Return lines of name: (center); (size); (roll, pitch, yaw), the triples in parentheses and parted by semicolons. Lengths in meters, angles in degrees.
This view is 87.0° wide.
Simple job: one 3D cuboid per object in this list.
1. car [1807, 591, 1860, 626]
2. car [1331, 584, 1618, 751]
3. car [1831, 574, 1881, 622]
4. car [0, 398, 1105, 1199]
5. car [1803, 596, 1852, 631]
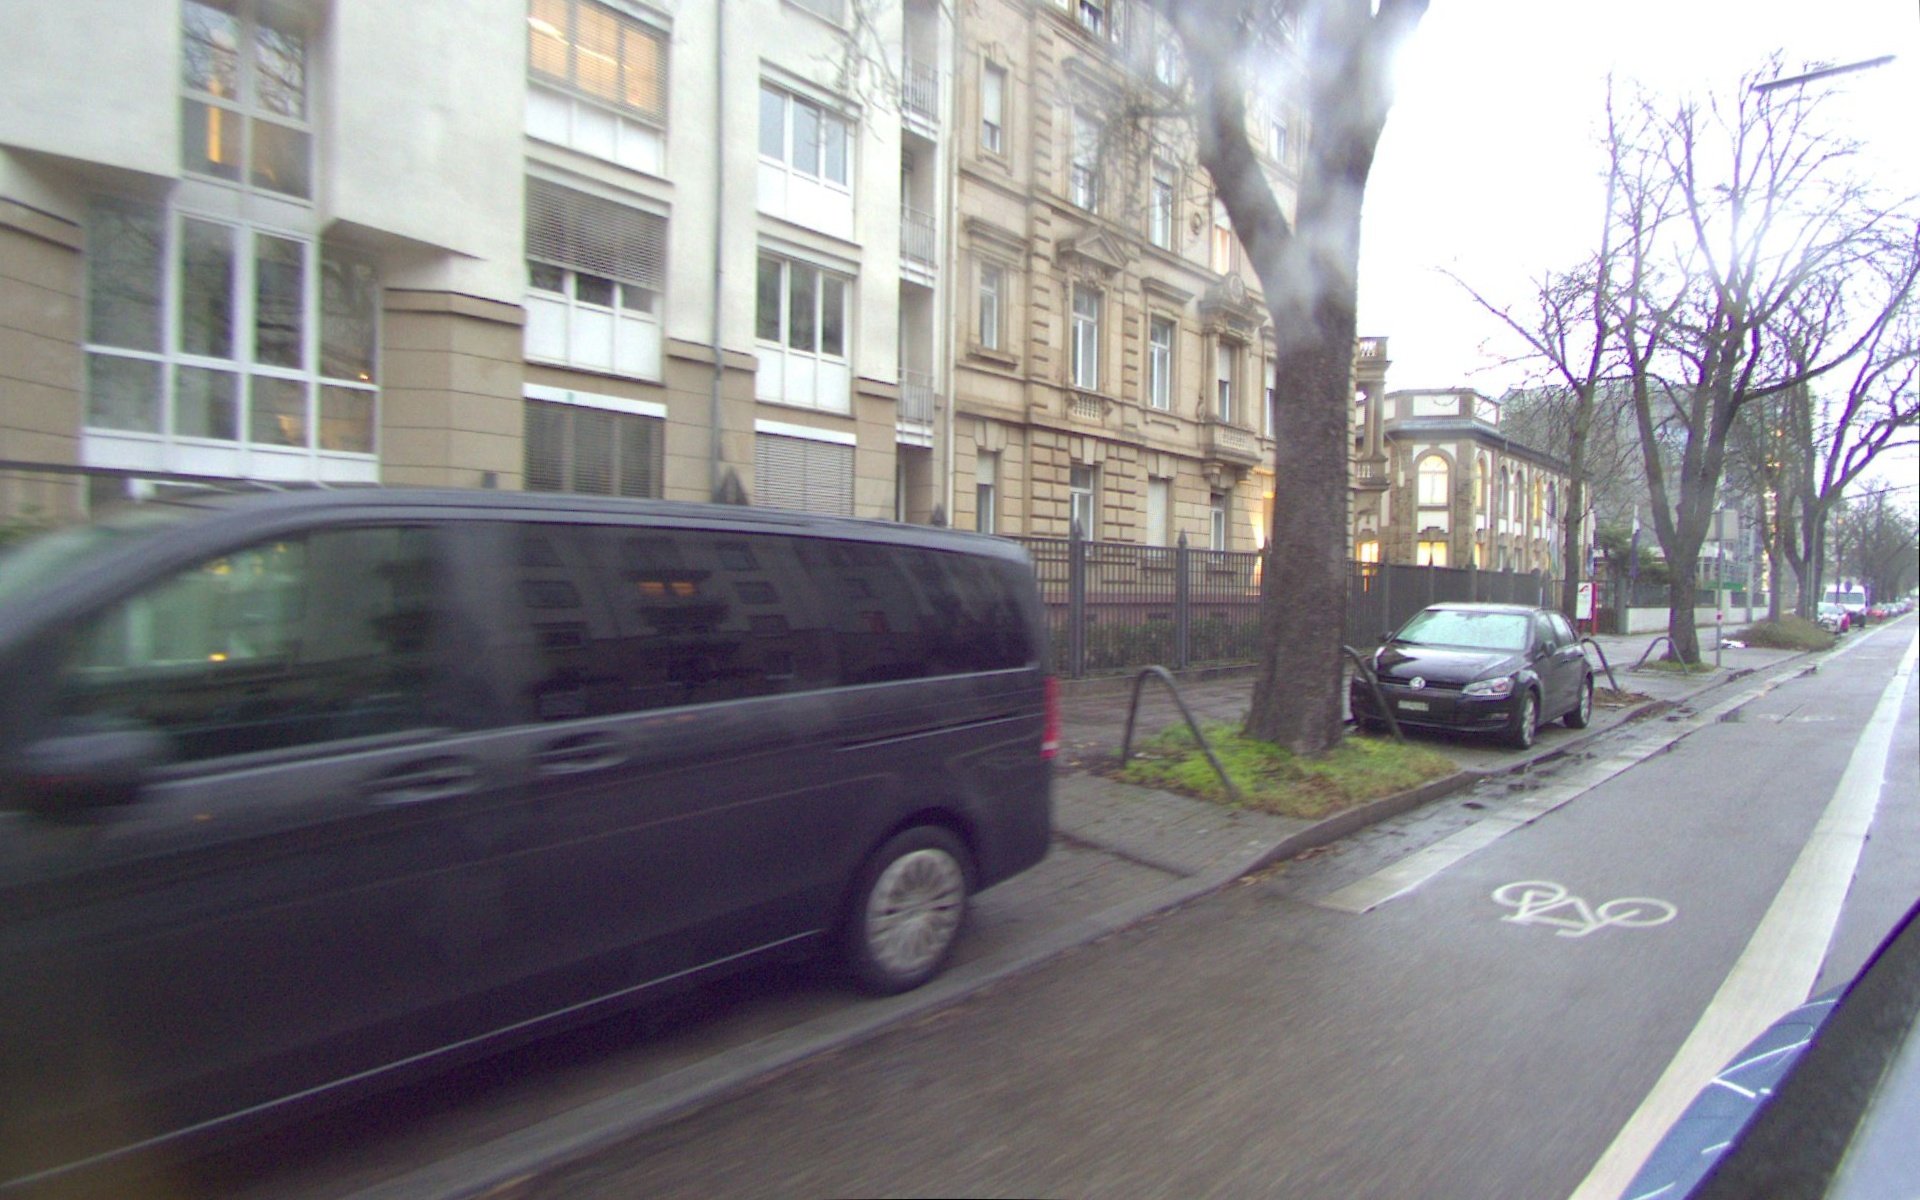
car: (45.509, 0.410, 52.718); (1.992, 1.703, 3.940); (1, 1, 42)
car: (5.956, 0.634, 11.474); (1.758, 1.463, 4.092); (4, 3, 43)
car: (52.602, -0.151, 59.438); (2.086, 2.670, 5.368); (1, 1, 41)
car: (-1.792, 0.516, 3.544); (2.032, 1.899, 4.883); (3, 2, 45)
car: (38.849, 0.567, 45.304); (1.622, 1.425, 3.940); (1, 1, 41)
